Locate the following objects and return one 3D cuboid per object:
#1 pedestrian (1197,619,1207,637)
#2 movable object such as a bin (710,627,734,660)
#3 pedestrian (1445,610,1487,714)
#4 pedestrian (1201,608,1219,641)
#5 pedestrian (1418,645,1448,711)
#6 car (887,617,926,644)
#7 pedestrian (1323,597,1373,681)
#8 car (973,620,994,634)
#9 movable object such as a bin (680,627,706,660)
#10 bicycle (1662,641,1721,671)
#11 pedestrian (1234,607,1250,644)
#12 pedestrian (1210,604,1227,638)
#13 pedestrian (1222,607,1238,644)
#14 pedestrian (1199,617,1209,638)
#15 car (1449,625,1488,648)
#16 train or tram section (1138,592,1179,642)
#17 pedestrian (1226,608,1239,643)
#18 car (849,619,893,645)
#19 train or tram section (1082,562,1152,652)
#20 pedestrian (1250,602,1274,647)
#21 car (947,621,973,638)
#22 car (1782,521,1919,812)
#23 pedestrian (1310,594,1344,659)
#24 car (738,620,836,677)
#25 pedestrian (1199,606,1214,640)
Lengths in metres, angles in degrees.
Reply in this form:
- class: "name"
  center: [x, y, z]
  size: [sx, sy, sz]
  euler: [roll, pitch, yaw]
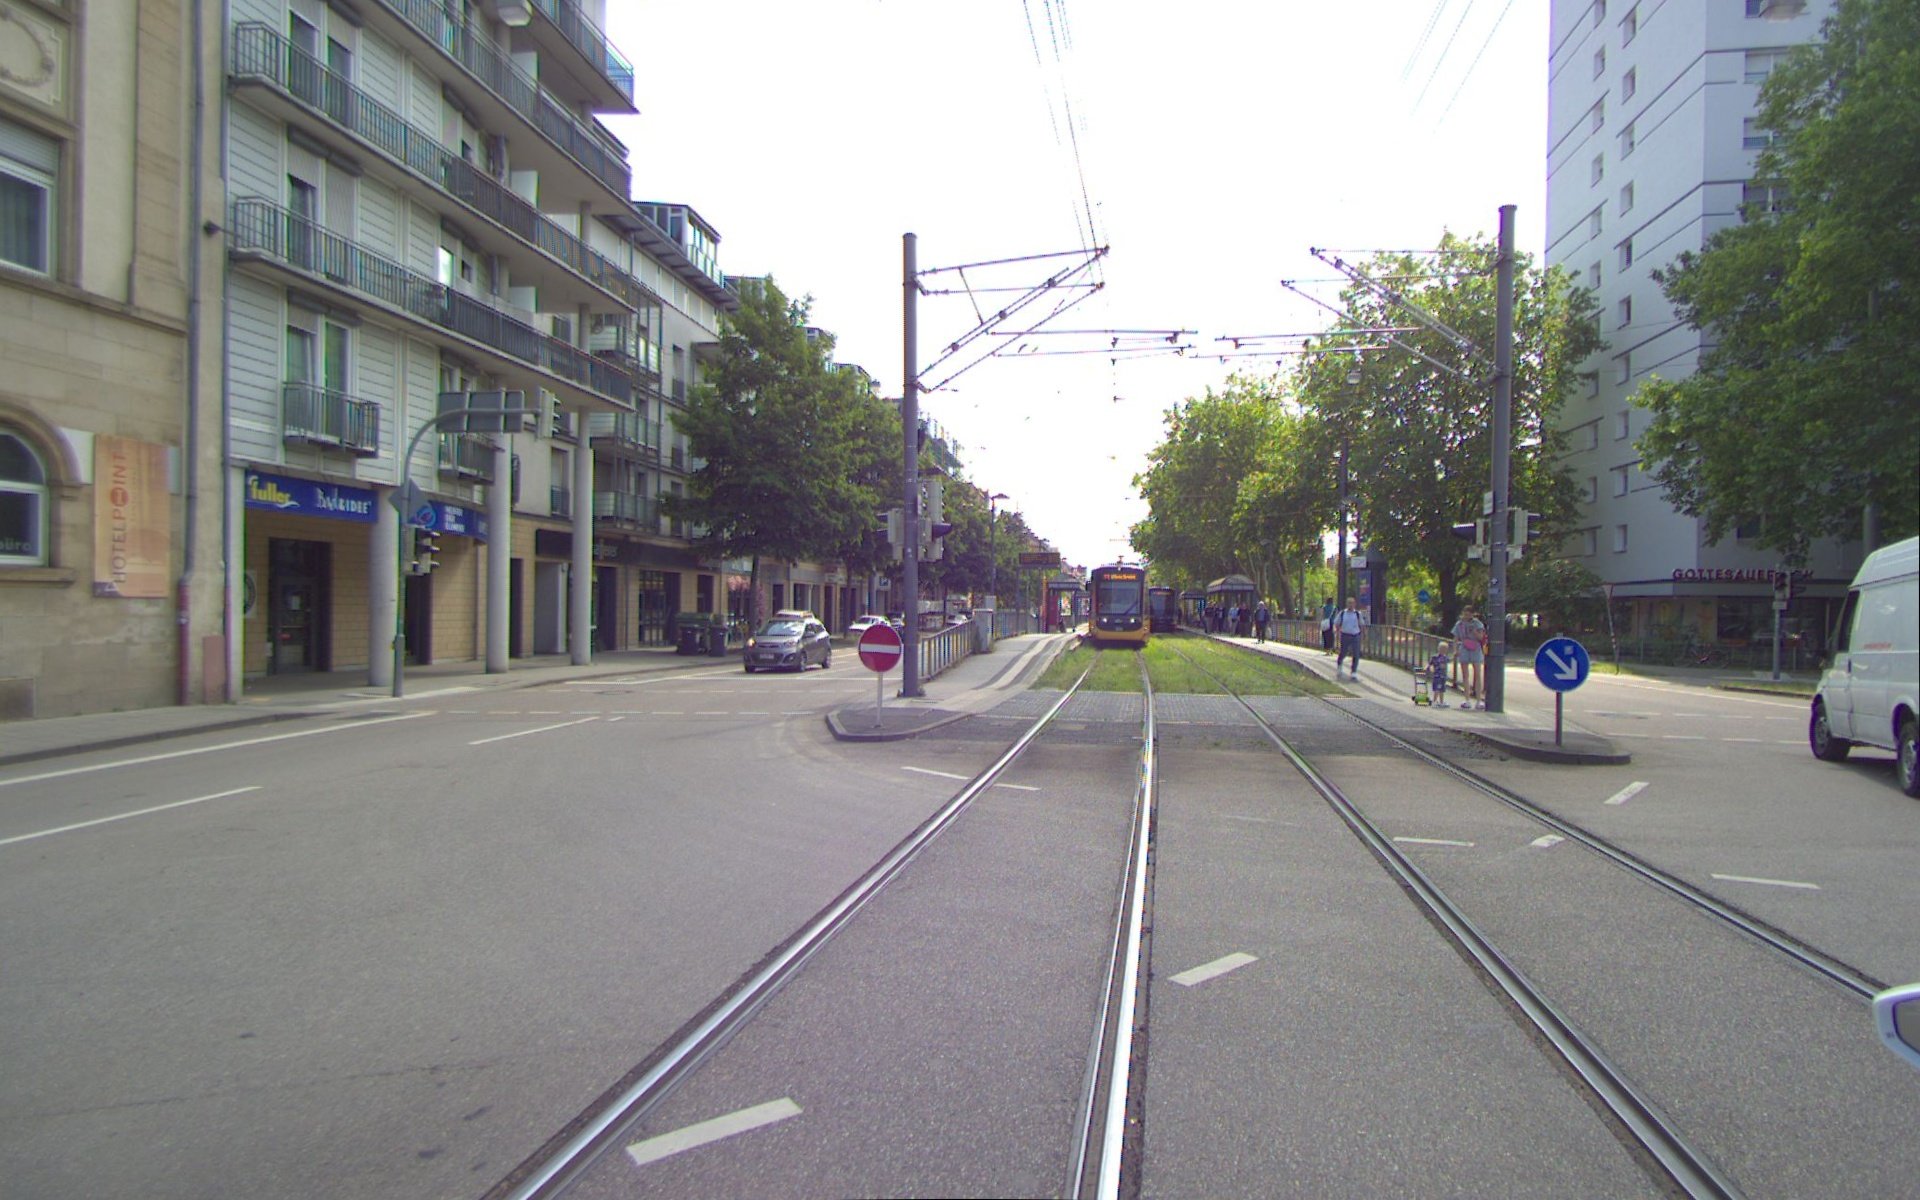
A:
- class: "pedestrian"
  center: [18.694, 2.163, 77.597]
  size: [0.664, 1.422, 0.596]
  euler: [0, -1, 8]
- class: "movable object such as a bin"
  center: [-8.213, 1.498, 34.660]
  size: [0.581, 1.132, 0.788]
  euler: [0, -1, 4]
- class: "pedestrian"
  center: [8.509, 1.023, 16.883]
  size: [0.614, 1.688, 0.675]
  euler: [0, -1, 28]
- class: "pedestrian"
  center: [14.345, 1.409, 57.663]
  size: [0.871, 1.824, 1.496]
  euler: [0, -1, 9]
- class: "pedestrian"
  center: [7.893, 1.293, 16.764]
  size: [0.413, 1.077, 0.436]
  euler: [0, -1, 30]
- class: "car"
  center: [-3.364, 1.912, 63.877]
  size: [1.690, 1.630, 3.694]
  euler: [0, -1, 9]
- class: "pedestrian"
  center: [8.599, 0.852, 22.318]
  size: [0.834, 1.804, 1.046]
  euler: [0, -1, 10]
- class: "car"
  center: [2.376, 2.691, 101.090]
  size: [1.690, 1.389, 3.707]
  euler: [0, -1, 9]
- class: "movable object such as a bin"
  center: [-9.207, 1.491, 34.619]
  size: [0.637, 1.132, 0.788]
  euler: [0, -1, 4]
- class: "bicycle"
  center: [26.028, 1.972, 35.749]
  size: [1.701, 1.022, 0.532]
  euler: [0, -1, 37]
- class: "pedestrian"
  center: [14.250, 1.280, 50.741]
  size: [0.689, 1.874, 0.790]
  euler: [0, -1, 9]
- class: "pedestrian"
  center: [14.394, 1.162, 56.001]
  size: [0.796, 1.897, 1.031]
  euler: [0, -1, 9]
- class: "pedestrian"
  center: [13.740, 1.282, 51.118]
  size: [0.689, 1.874, 0.908]
  euler: [0, -1, 9]
- class: "pedestrian"
  center: [18.599, 2.091, 76.553]
  size: [0.664, 1.535, 0.596]
  euler: [0, -1, 8]
- class: "car"
  center: [43.139, 3.055, 85.314]
  size: [1.776, 1.839, 4.342]
  euler: [1, -1, 11]
- class: "train or tram section"
  center: [15.736, 1.440, 80.266]
  size: [2.677, 3.631, 13.025]
  euler: [1, -1, 9]
- class: "pedestrian"
  center: [15.007, 1.419, 55.303]
  size: [0.464, 1.925, 0.535]
  euler: [0, -1, -15]
- class: "car"
  center: [-5.031, 1.811, 57.275]
  size: [1.690, 1.389, 3.479]
  euler: [0, -1, 9]
- class: "train or tram section"
  center: [7.390, 0.429, 47.097]
  size: [2.759, 3.631, 13.025]
  euler: [1, -1, 9]
- class: "pedestrian"
  center: [12.422, 1.016, 41.311]
  size: [0.843, 1.798, 0.877]
  euler: [1, -1, 9]
- class: "car"
  center: [0.029, 2.502, 85.887]
  size: [1.690, 1.389, 3.479]
  euler: [0, -1, 9]
- class: "car"
  center: [9.634, 0.577, 9.475]
  size: [2.016, 2.364, 4.707]
  euler: [0, -1, 28]
- class: "pedestrian"
  center: [11.034, 0.803, 30.197]
  size: [0.813, 1.924, 0.847]
  euler: [1, -1, 9]
- class: "car"
  center: [-4.683, 1.296, 27.719]
  size: [1.605, 1.457, 3.646]
  euler: [0, -1, 8]
- class: "pedestrian"
  center: [13.584, 1.275, 55.393]
  size: [0.699, 1.824, 1.133]
  euler: [0, -1, 9]
